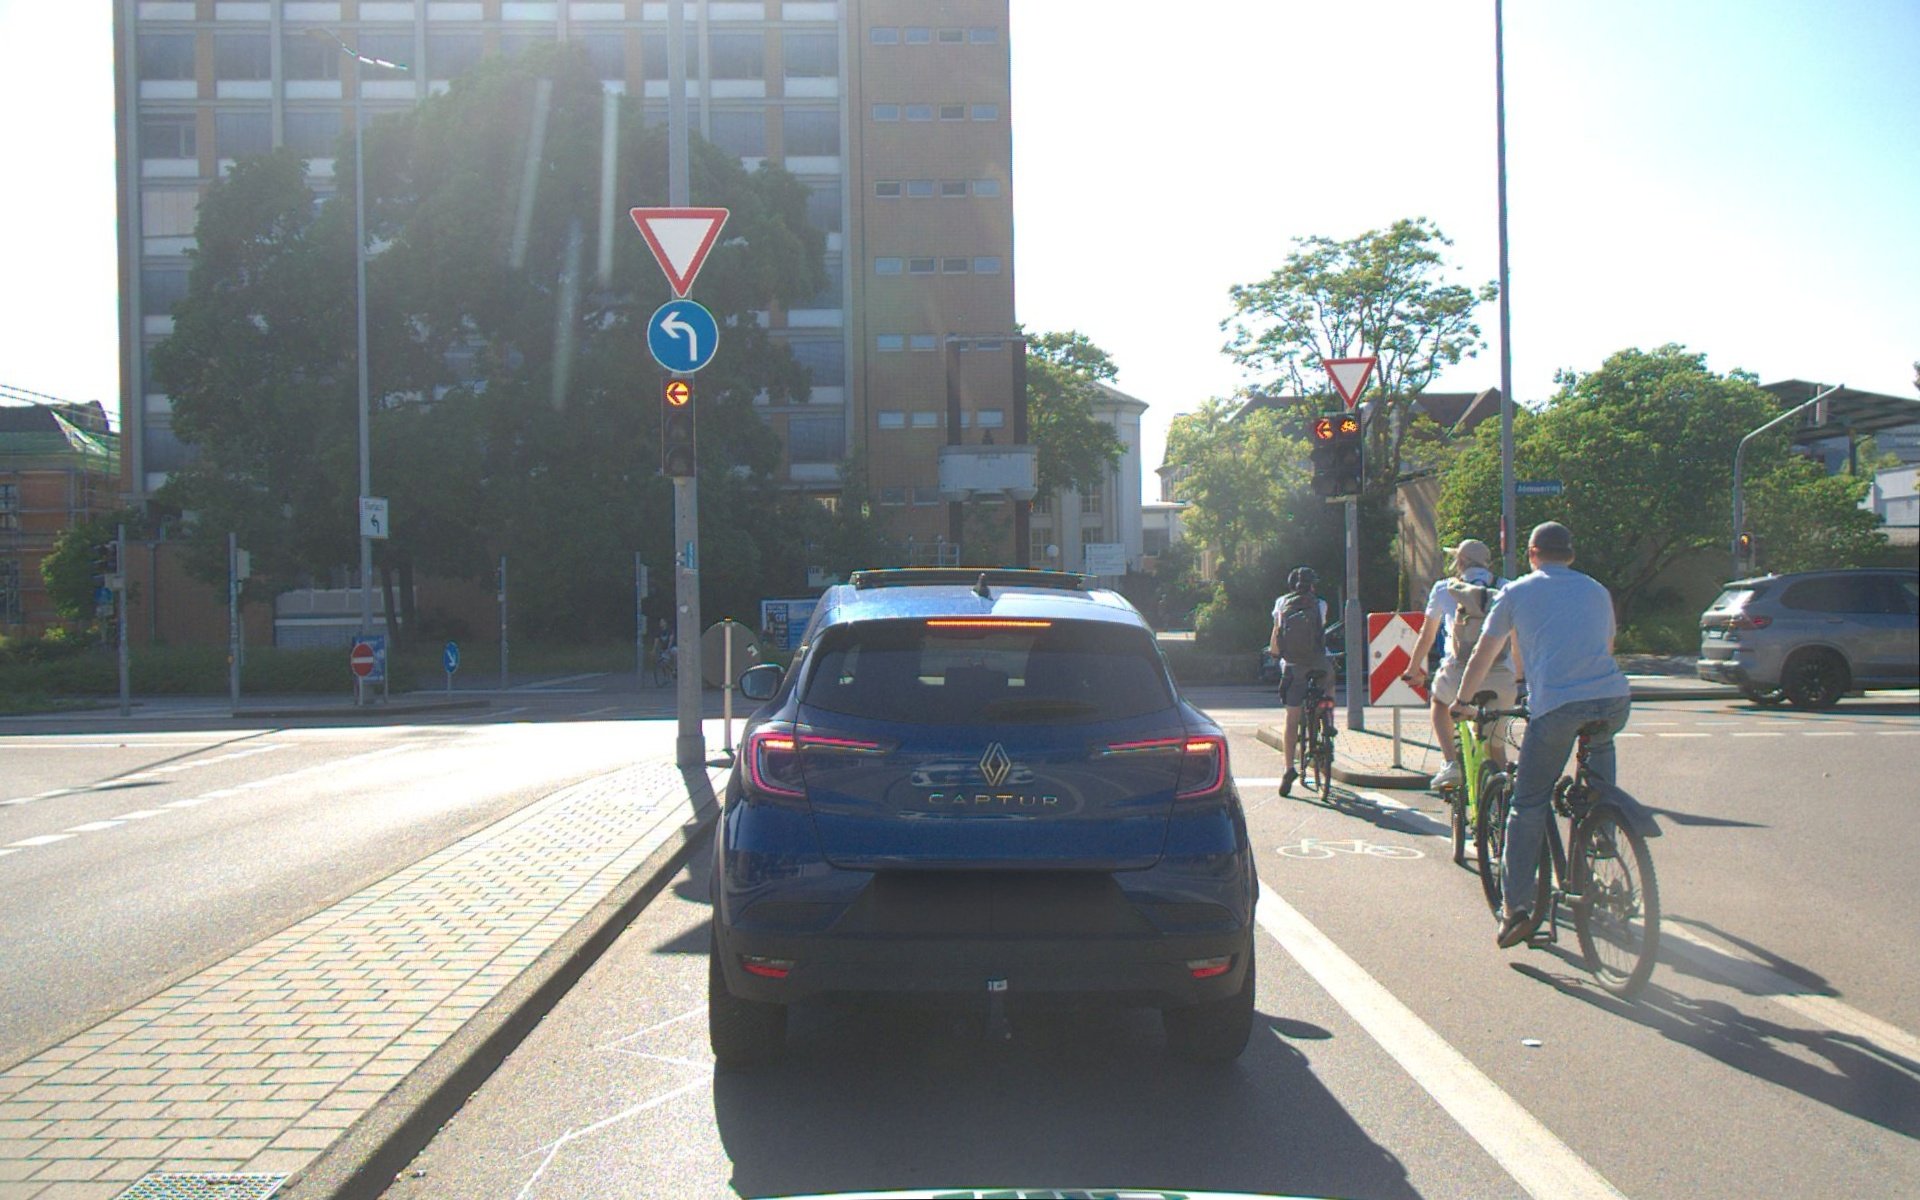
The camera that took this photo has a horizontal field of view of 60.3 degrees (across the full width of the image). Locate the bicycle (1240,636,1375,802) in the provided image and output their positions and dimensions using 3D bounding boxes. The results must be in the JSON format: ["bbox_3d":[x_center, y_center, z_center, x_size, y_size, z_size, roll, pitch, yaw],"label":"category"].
[{"bbox_3d":[2.674,0.884,12.892,0.602,1.158,1.825,0,0,-2],"label":"bicycle"}]

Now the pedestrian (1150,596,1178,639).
[{"bbox_3d":[9.847,0.845,79.908,1.132,2.049,1.164,-1,0,-1],"label":"pedestrian"}]

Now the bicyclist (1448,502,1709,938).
[{"bbox_3d":[2.570,0.471,6.963,0.725,1.703,0.865,-1,0,-3],"label":"bicyclist"}]

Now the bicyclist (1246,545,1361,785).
[{"bbox_3d":[2.693,0.500,13.036,0.663,1.816,0.939,1,-1,-2],"label":"bicyclist"}]

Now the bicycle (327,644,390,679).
[{"bbox_3d":[-17.655,1.810,48.542,1.827,0.975,0.623,-1,0,24],"label":"bicycle"}]

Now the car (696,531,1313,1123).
[{"bbox_3d":[0.078,0.645,6.670,1.758,1.684,3.852,1,0,-2],"label":"car"}]

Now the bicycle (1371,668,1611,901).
[{"bbox_3d":[2.847,0.948,9.070,0.657,1.069,1.843,1,0,-2],"label":"bicycle"}]

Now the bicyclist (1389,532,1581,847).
[{"bbox_3d":[2.851,0.463,9.075,0.660,1.610,1.081,1,0,-2],"label":"bicyclist"}]

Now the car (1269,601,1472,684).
[{"bbox_3d":[8.367,0.853,34.038,3.902,1.598,1.837,-1,0,10],"label":"car"}]

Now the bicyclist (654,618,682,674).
[{"bbox_3d":[-7.720,1.213,43.714,0.637,1.437,0.635,-1,-3,-17],"label":"bicyclist"}]

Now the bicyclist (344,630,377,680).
[{"bbox_3d":[-17.568,1.599,48.503,0.624,1.437,0.649,-1,0,24],"label":"bicyclist"}]

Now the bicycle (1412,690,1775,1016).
[{"bbox_3d":[2.583,0.976,7.008,0.732,1.069,1.902,-1,0,-2],"label":"bicycle"}]

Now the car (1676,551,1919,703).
[{"bbox_3d":[12.247,0.327,21.955,4.626,1.893,2.006,-1,0,8],"label":"car"}]

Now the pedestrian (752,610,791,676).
[{"bbox_3d":[-5.435,1.237,47.767,0.912,1.888,0.808,-1,0,8],"label":"pedestrian"}]

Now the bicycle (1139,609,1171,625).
[{"bbox_3d":[11.196,0.981,94.996,1.735,0.914,0.765,-1,0,-1],"label":"bicycle"}]

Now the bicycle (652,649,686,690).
[{"bbox_3d":[-7.683,1.830,43.586,0.687,1.025,1.860,-1,-3,-16],"label":"bicycle"}]

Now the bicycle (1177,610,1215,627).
[{"bbox_3d":[11.853,0.929,83.205,1.739,0.837,0.763,-1,0,-11],"label":"bicycle"}]

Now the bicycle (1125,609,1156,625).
[{"bbox_3d":[10.849,1.011,99.355,1.735,0.908,0.765,-1,0,-1],"label":"bicycle"}]
